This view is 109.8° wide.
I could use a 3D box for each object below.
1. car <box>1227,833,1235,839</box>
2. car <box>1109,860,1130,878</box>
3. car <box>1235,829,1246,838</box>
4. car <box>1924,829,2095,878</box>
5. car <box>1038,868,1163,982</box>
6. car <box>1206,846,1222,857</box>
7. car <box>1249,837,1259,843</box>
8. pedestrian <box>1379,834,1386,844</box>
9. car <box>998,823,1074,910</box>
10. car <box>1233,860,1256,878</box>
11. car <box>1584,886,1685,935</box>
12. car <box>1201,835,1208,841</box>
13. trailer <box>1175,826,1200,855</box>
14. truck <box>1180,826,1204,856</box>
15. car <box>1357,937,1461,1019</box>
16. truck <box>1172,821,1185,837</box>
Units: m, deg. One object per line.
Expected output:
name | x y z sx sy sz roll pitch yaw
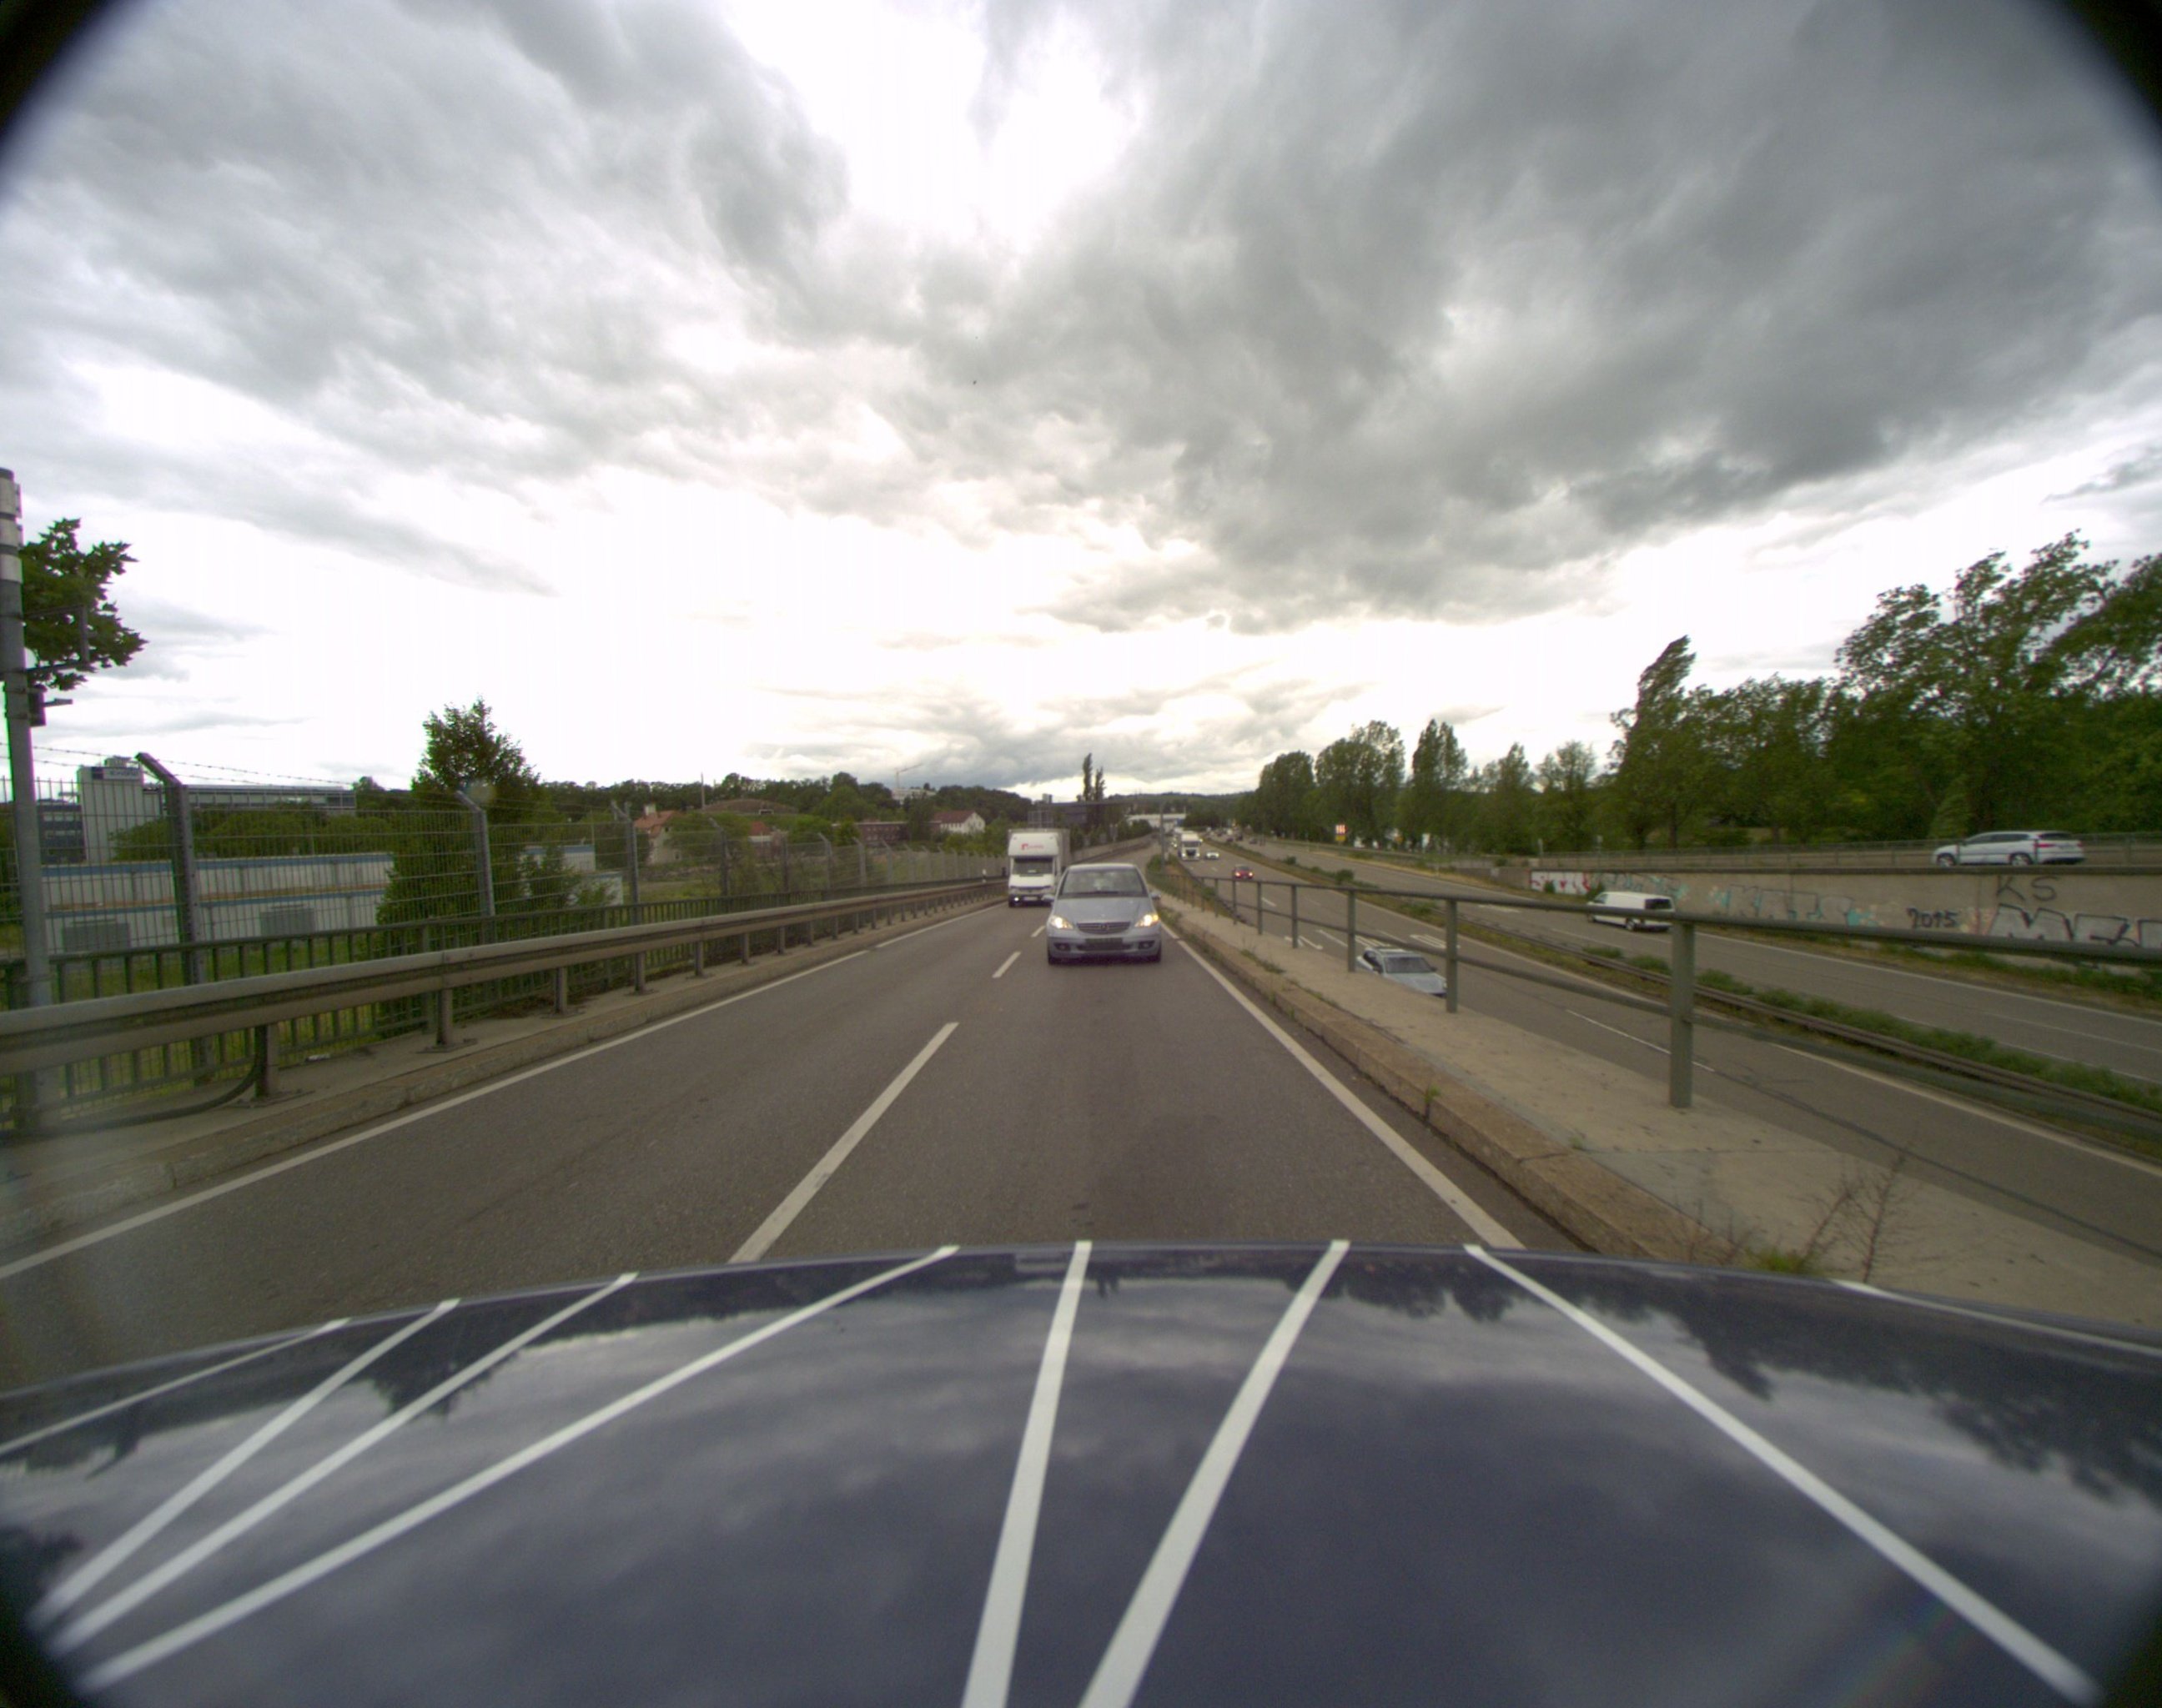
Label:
car | 42.312 -5.008 214.143 1.668 1.493 3.857 0 3 3
car | 3.659 1.405 71.895 1.780 1.578 4.001 -1 0 4
car | 47.909 -6.043 227.859 2.249 2.533 6.112 -1 3 2
car | 38.545 0.007 31.725 1.998 1.859 4.214 -1 0 1
car | 0.377 1.074 13.070 1.780 1.578 4.001 -1 0 3
car | 20.274 -0.409 115.814 1.919 1.411 4.275 -1 3 4
car | 43.607 -3.443 191.176 1.715 1.368 4.109 0 3 2
pedestrian | 52.246 -2.597 131.672 0.831 1.696 1.077 -2 3 3
car | -1.780 0.442 33.143 2.665 3.310 7.090 -2 1 1
car | 16.567 1.472 77.199 1.756 1.433 4.163 -1 4 4
car | 30.651 3.065 42.325 1.998 2.056 5.175 -1 3 2
car | 34.084 -4.419 209.175 1.857 1.598 4.166 1 3 8
trailer | 16.906 -2.317 121.547 2.758 4.228 13.146 0 3 2
truck | 16.593 -1.972 113.998 2.758 4.228 6.696 0 3 2
car | 10.925 4.083 25.668 1.844 1.790 4.277 -1 4 3
truck | 28.657 -7.463 224.576 3.179 4.501 11.121 -1 3 4
